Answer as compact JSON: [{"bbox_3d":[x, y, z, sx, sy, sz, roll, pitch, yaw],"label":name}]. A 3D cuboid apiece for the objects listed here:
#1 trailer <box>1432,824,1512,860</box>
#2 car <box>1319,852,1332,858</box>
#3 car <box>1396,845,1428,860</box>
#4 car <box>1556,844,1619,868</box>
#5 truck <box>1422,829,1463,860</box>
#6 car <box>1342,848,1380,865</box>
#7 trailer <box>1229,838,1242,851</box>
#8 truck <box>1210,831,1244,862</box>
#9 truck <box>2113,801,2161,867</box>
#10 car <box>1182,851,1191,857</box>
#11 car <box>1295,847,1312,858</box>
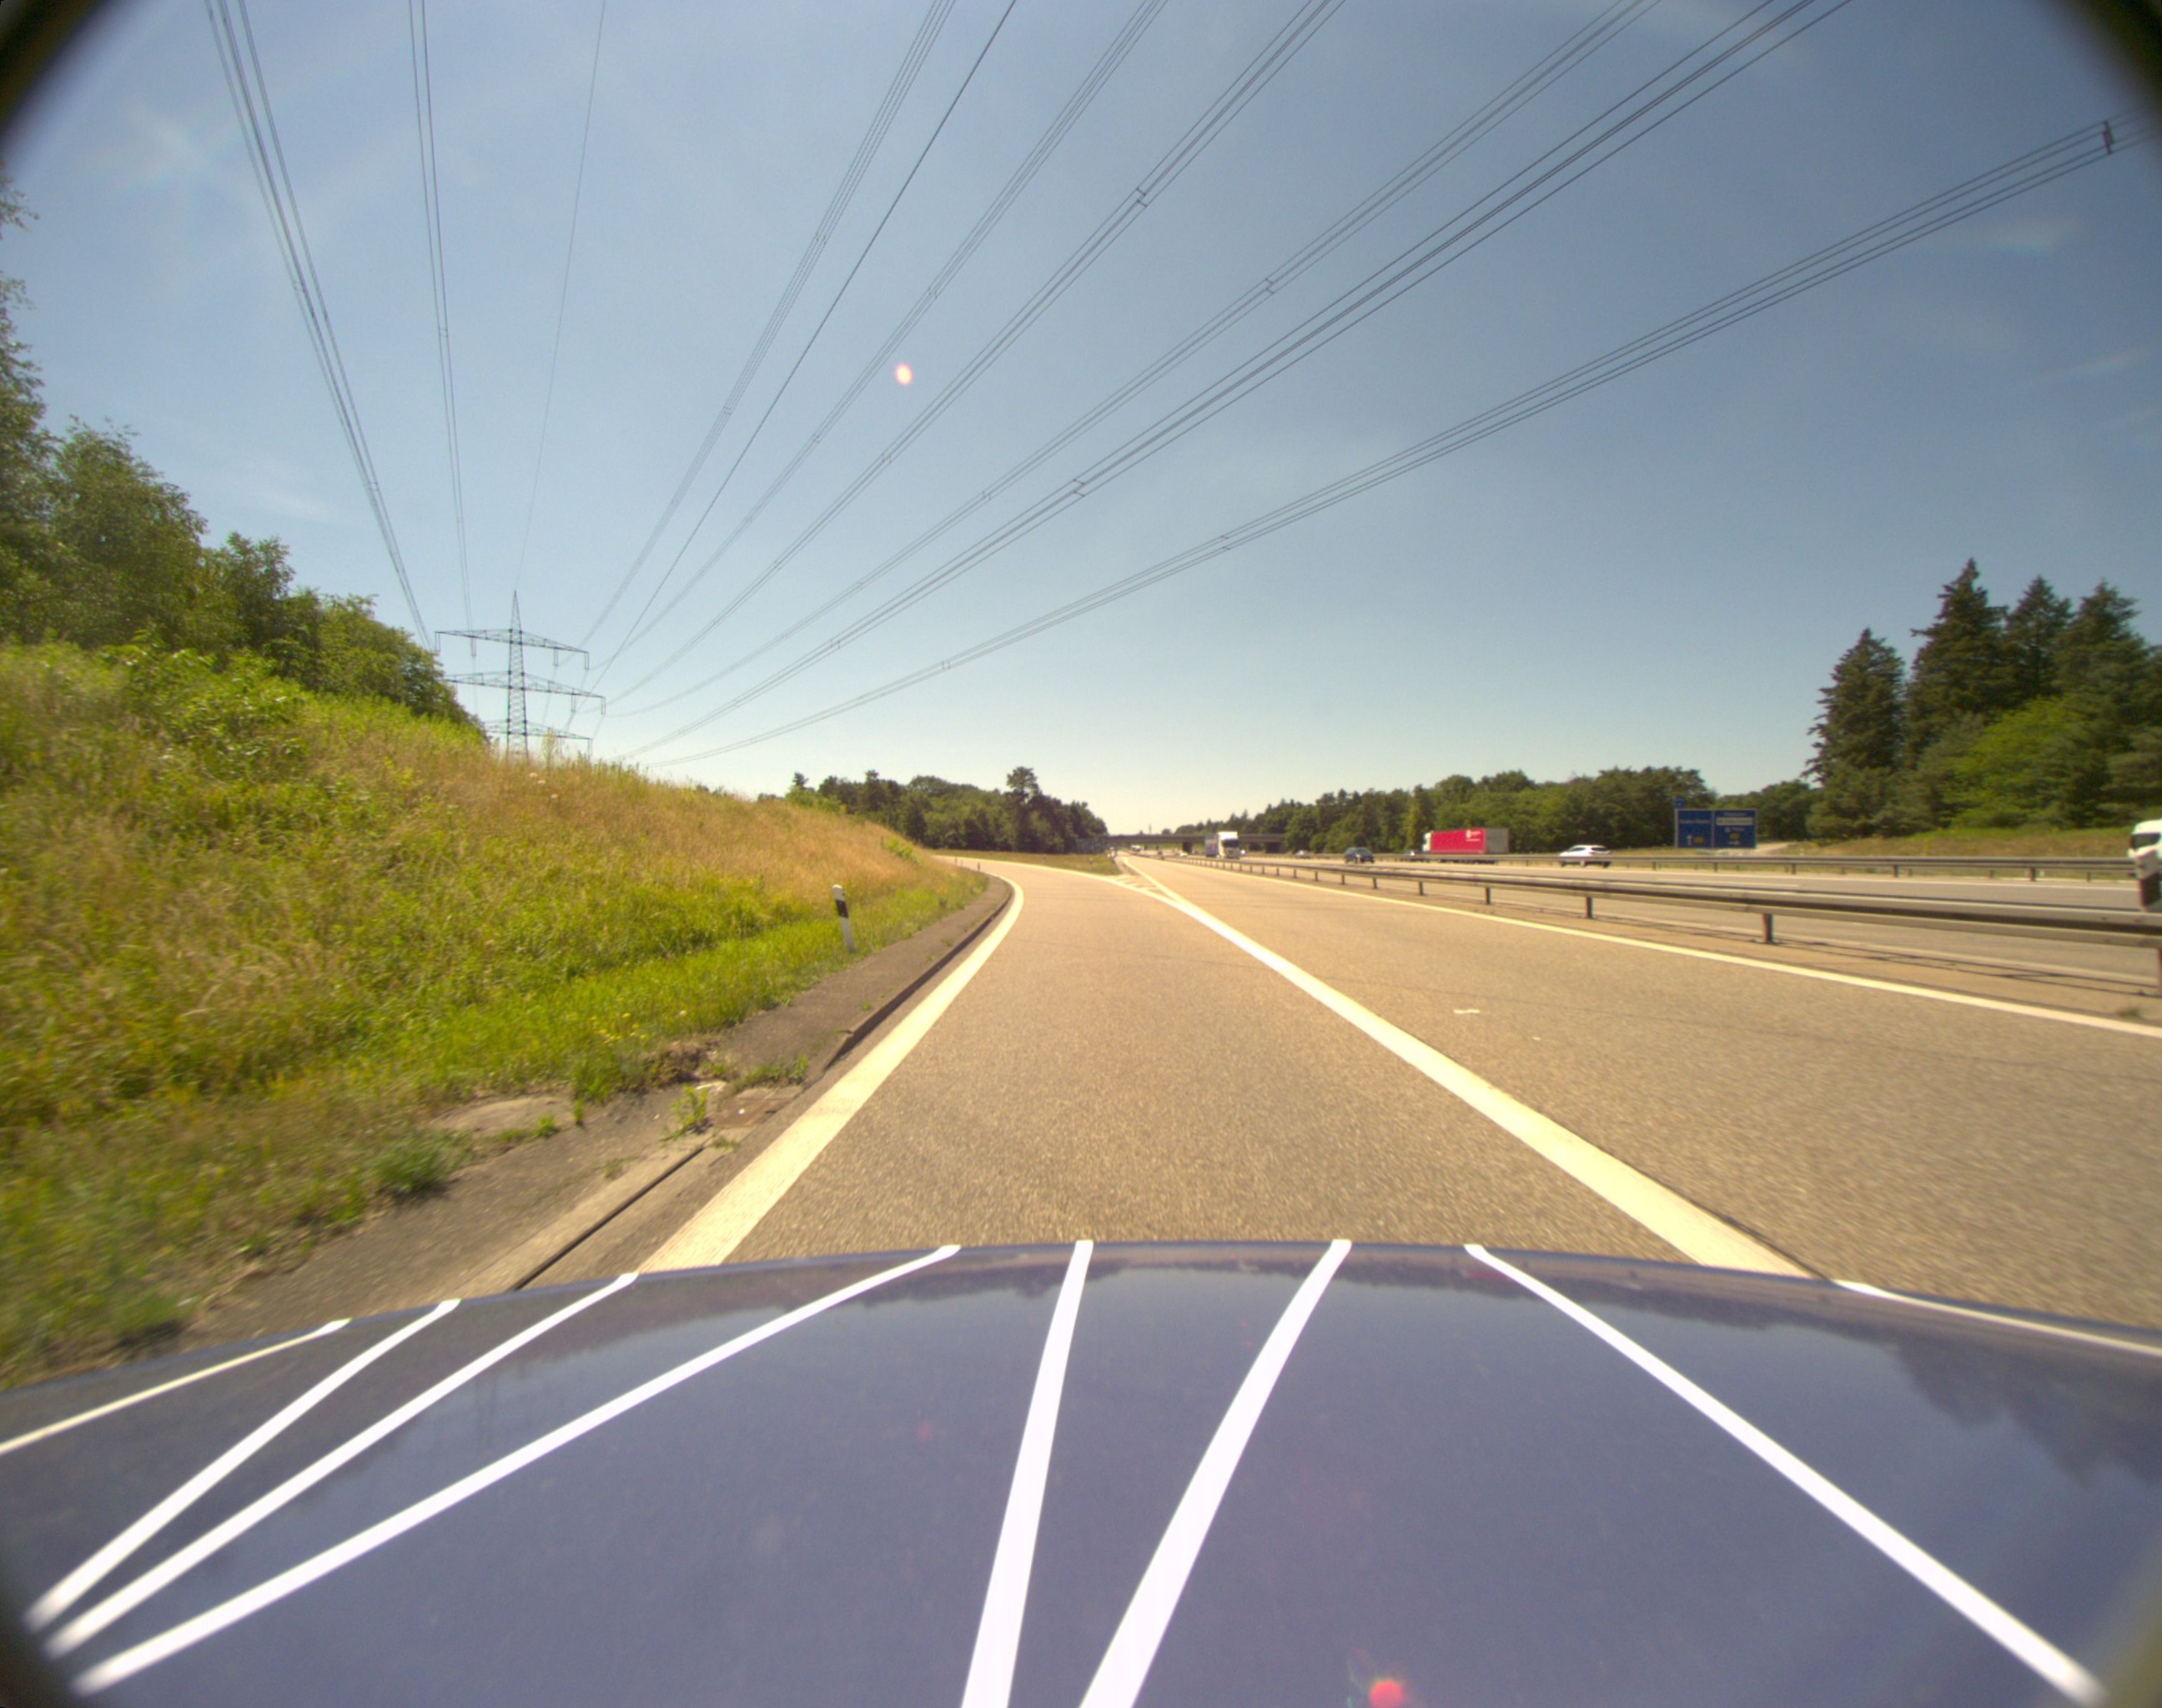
[{"bbox_3d":[44.812,-1.214,87.776,2.547,3.775,13.744,-1,0,2],"label":"trailer"},{"bbox_3d":[62.395,0.292,193.787,1.998,1.641,4.000,-1,0,0],"label":"car"},{"bbox_3d":[40.197,-0.214,92.464,1.920,1.674,4.824,-1,2,2],"label":"car"},{"bbox_3d":[39.130,0.130,58.844,1.776,1.674,4.824,-1,2,2],"label":"car"},{"bbox_3d":[45.108,-1.153,94.984,2.547,3.775,5.669,-1,0,2],"label":"truck"},{"bbox_3d":[25.955,0.226,70.572,1.999,1.467,4.242,-1,0,0],"label":"car"},{"bbox_3d":[53.438,-3.167,263.161,2.931,4.362,14.301,2,1,5],"label":"trailer"},{"bbox_3d":[19.947,-0.972,104.510,2.709,4.034,11.048,-1,0,2],"label":"truck"},{"bbox_3d":[62.703,-1.137,43.213,2.772,3.775,4.004,-1,0,11],"label":"truck"},{"bbox_3d":[29.152,-0.023,209.901,1.999,1.559,4.000,-1,0,-1],"label":"car"},{"bbox_3d":[38.537,-0.245,131.641,1.775,1.674,4.825,-1,2,4],"label":"car"}]
